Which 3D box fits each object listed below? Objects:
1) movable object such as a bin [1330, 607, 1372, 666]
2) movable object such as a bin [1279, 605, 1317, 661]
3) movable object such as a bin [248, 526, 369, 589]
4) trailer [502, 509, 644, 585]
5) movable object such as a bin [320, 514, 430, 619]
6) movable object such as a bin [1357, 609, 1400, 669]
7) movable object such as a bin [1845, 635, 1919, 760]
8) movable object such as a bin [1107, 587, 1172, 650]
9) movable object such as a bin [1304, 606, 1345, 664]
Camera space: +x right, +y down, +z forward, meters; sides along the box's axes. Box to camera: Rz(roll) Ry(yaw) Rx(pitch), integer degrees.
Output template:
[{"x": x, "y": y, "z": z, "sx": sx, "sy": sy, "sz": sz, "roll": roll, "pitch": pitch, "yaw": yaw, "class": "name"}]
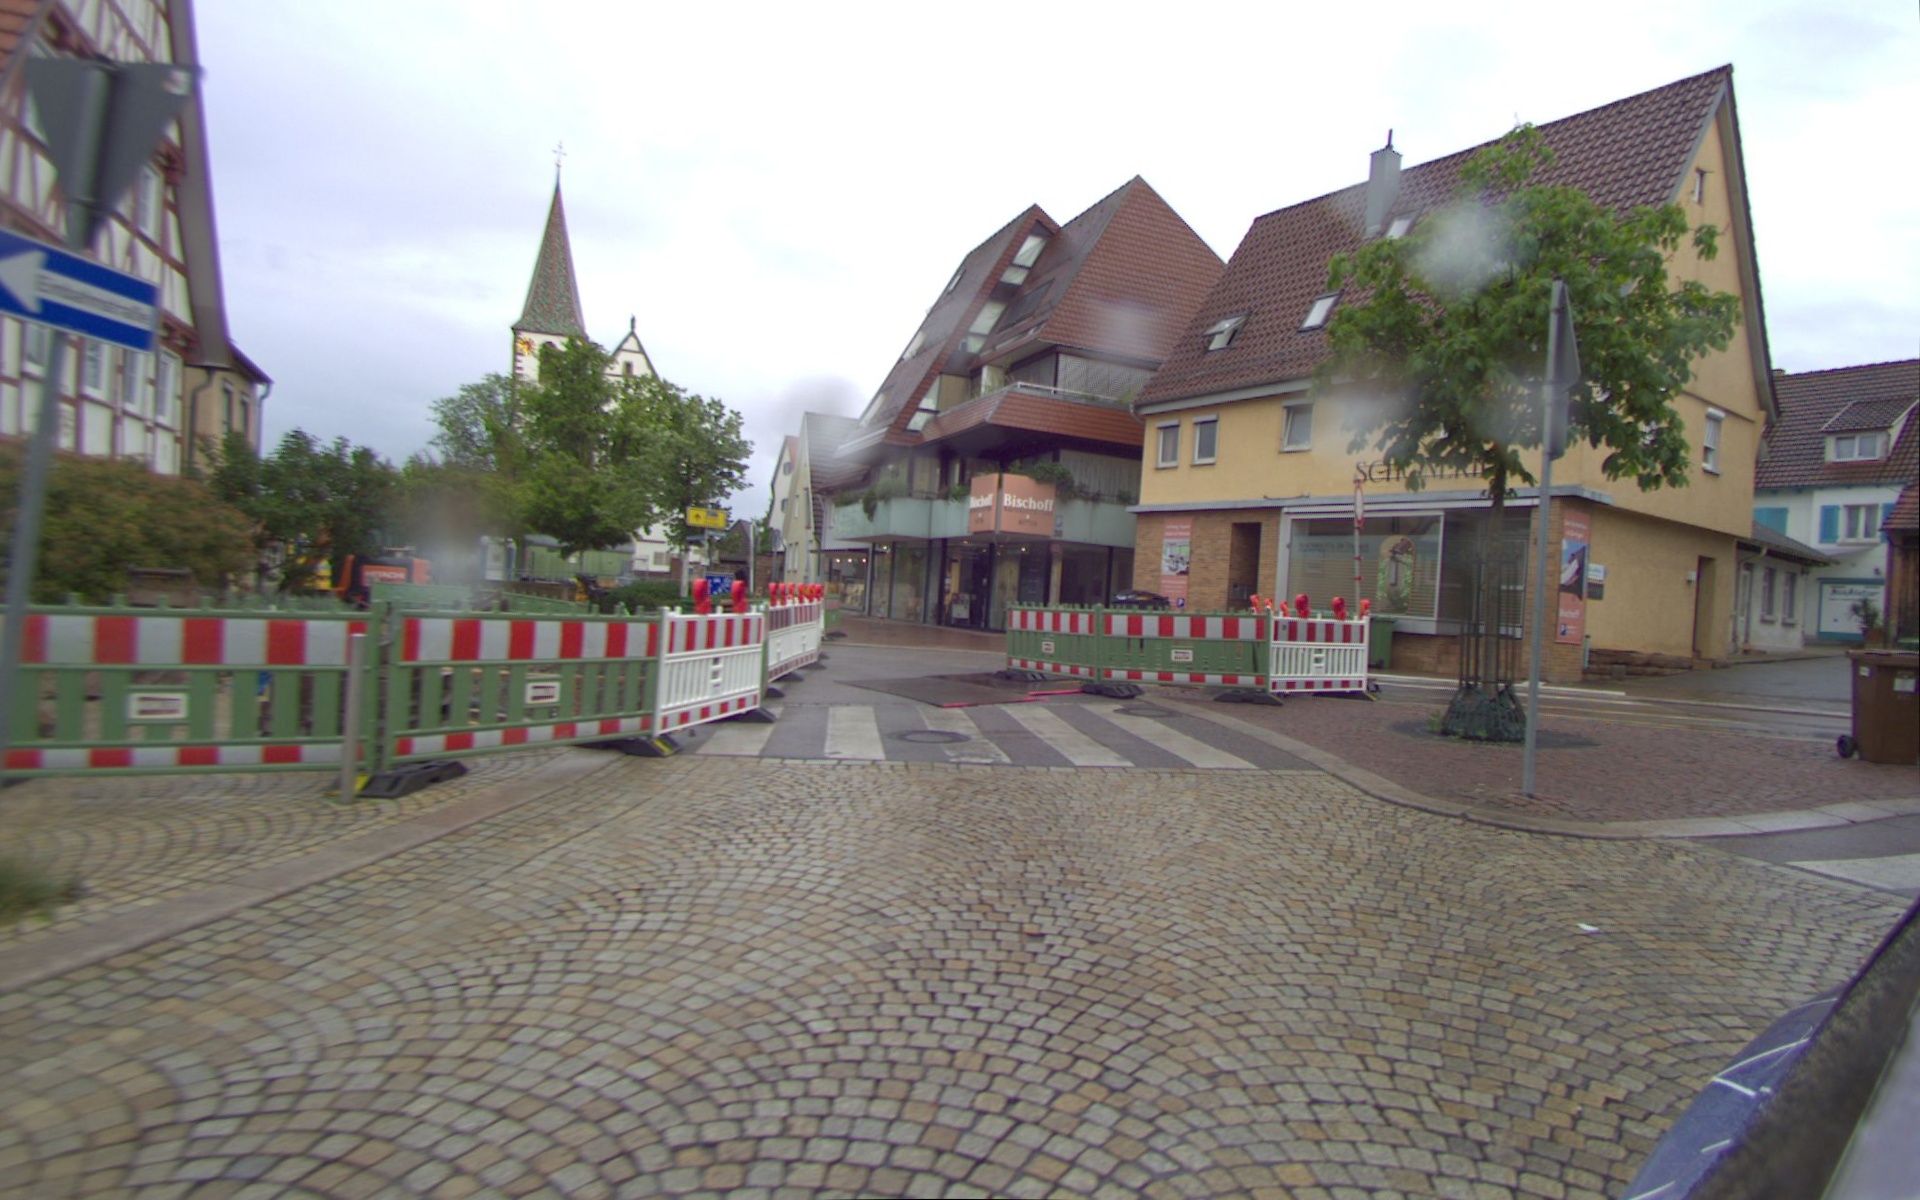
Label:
[{"x": 8.002, "y": 0.744, "z": 20.720, "sx": 0.508, "sy": 1.142, "sz": 0.580, "roll": -1, "pitch": 3, "yaw": -38, "class": "movable object such as a bin"}, {"x": 7.250, "y": 0.689, "z": 21.712, "sx": 0.508, "sy": 1.142, "sz": 0.580, "roll": 0, "pitch": 3, "yaw": -38, "class": "movable object such as a bin"}, {"x": -24.686, "y": -1.552, "z": 38.307, "sx": 3.352, "sy": 2.039, "sz": 3.474, "roll": 4, "pitch": -2, "yaw": -40, "class": "movable object such as a bin"}, {"x": -17.806, "y": -2.372, "z": 46.830, "sx": 1.994, "sy": 2.985, "sz": 5.707, "roll": 2, "pitch": -2, "yaw": 43, "class": "trailer"}, {"x": -12.703, "y": -0.670, "z": 21.863, "sx": 1.874, "sy": 2.039, "sz": 4.002, "roll": 1, "pitch": 0, "yaw": -32, "class": "movable object such as a bin"}, {"x": 8.366, "y": 0.769, "z": 20.233, "sx": 0.510, "sy": 1.146, "sz": 0.580, "roll": 0, "pitch": 2, "yaw": -38, "class": "movable object such as a bin"}, {"x": 8.112, "y": 0.826, "z": 8.701, "sx": 0.502, "sy": 1.017, "sz": 0.568, "roll": 1, "pitch": -1, "yaw": 1, "class": "movable object such as a bin"}, {"x": 4.566, "y": 0.441, "z": 25.819, "sx": 1.048, "sy": 1.531, "sz": 1.243, "roll": 0, "pitch": 2, "yaw": -34, "class": "movable object such as a bin"}, {"x": 7.633, "y": 0.714, "z": 21.205, "sx": 0.508, "sy": 1.147, "sz": 0.580, "roll": -1, "pitch": 3, "yaw": -38, "class": "movable object such as a bin"}]
